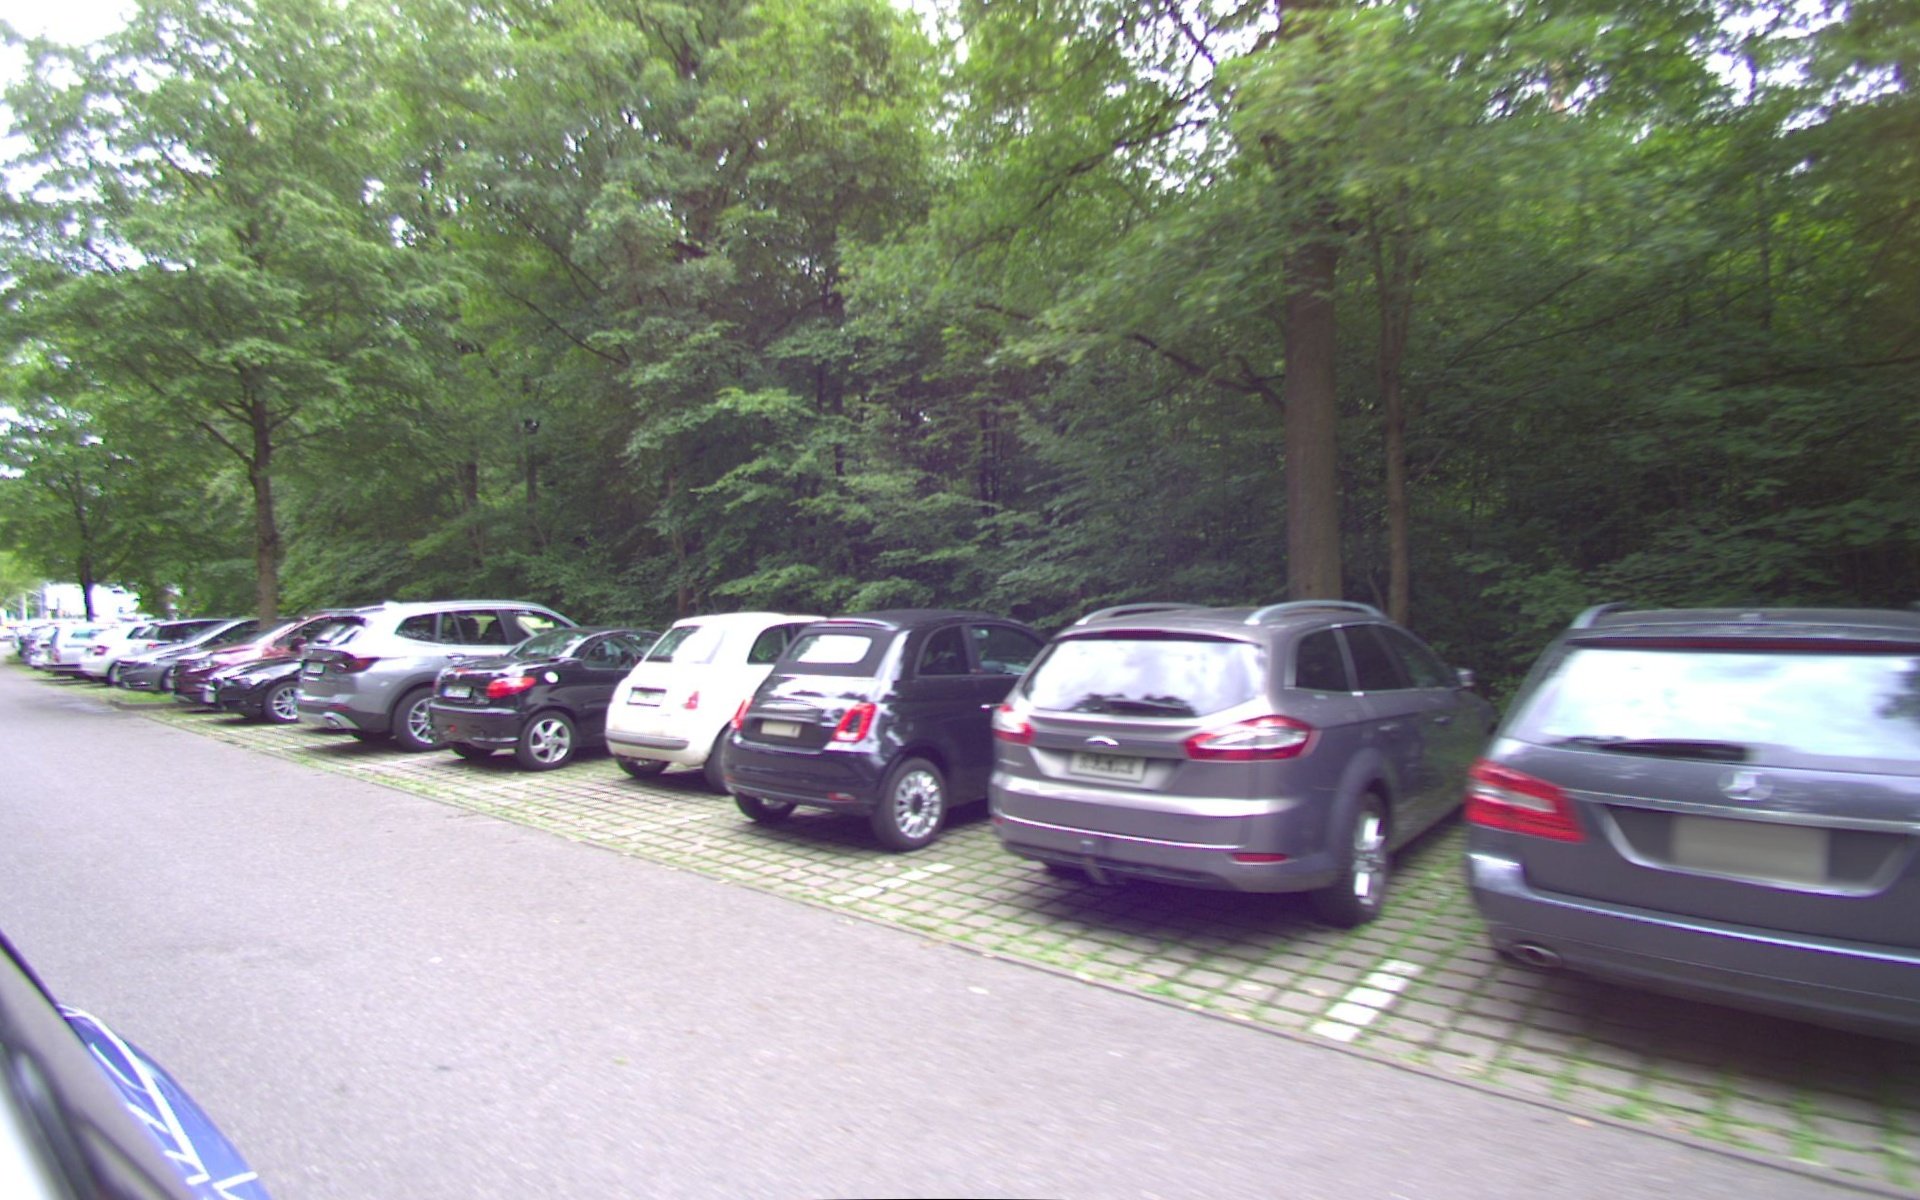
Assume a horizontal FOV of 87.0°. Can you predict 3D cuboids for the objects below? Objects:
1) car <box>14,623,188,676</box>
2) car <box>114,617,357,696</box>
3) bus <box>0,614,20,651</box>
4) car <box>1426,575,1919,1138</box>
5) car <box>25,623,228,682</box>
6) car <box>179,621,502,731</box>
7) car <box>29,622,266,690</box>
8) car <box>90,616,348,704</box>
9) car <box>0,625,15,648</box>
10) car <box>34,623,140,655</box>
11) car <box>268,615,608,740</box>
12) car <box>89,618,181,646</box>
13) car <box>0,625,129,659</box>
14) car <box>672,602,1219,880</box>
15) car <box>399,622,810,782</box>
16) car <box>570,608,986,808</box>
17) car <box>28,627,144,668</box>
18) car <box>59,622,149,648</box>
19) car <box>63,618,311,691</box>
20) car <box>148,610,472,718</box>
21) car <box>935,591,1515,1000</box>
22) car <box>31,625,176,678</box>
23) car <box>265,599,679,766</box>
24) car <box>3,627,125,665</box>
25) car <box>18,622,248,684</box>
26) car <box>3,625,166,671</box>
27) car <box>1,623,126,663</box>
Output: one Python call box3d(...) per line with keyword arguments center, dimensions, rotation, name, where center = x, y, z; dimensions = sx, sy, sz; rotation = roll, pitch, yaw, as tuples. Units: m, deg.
box3d(center=(-27.913, 1.552, 32.946), dimensions=(4.216, 1.497, 2.059), rotation=(0, -1, -44), name="car")
box3d(center=(-16.504, 1.223, 23.235), dimensions=(1.844, 1.562, 4.196), rotation=(-2, -1, 37), name="car")
box3d(center=(-88.342, 2.945, 89.138), dimensions=(2.803, 3.183, 7.671), rotation=(-4, -2, 32), name="bus")
box3d(center=(3.649, 0.678, 4.406), dimensions=(1.995, 1.491, 4.069), rotation=(-2, -1, 39), name="car")
box3d(center=(-24.174, 1.473, 29.469), dimensions=(1.890, 1.497, 4.321), rotation=(-1, -1, 40), name="car")
box3d(center=(-9.530, 1.081, 15.808), dimensions=(1.785, 1.374, 3.947), rotation=(-2, 0, 40), name="car")
box3d(center=(-20.639, 1.361, 25.849), dimensions=(1.869, 1.497, 4.513), rotation=(-2, -1, 42), name="car")
box3d(center=(-15.234, 1.157, 20.973), dimensions=(1.918, 1.567, 3.993), rotation=(-2, -1, 40), name="car")
box3d(center=(-73.669, 2.776, 75.262), dimensions=(4.456, 1.706, 2.172), rotation=(-1, 0, -24), name="car")
box3d(center=(-45.765, 2.035, 53.140), dimensions=(4.181, 1.545, 1.765), rotation=(0, -1, -41), name="car")
box3d(center=(-7.385, 0.997, 14.582), dimensions=(1.799, 1.476, 3.979), rotation=(-2, -1, 43), name="car")
box3d(center=(-61.197, 2.359, 75.153), dimensions=(5.014, 1.930, 1.984), rotation=(0, -1, -29), name="car")
box3d(center=(-43.231, 1.992, 48.988), dimensions=(4.582, 1.489, 2.098), rotation=(0, -1, -41), name="car")
box3d(center=(0.158, 0.821, 7.968), dimensions=(1.837, 1.500, 4.354), rotation=(-2, 0, 42), name="car")
box3d(center=(-3.745, 0.981, 11.221), dimensions=(1.808, 1.320, 3.941), rotation=(-2, -1, 38), name="car")
box3d(center=(-1.570, 0.871, 9.834), dimensions=(1.658, 1.462, 3.828), rotation=(-3, -1, 38), name="car")
box3d(center=(-34.637, 1.845, 40.140), dimensions=(3.423, 1.492, 1.685), rotation=(1, -2, -43), name="car")
box3d(center=(-56.445, 2.299, 66.810), dimensions=(4.296, 1.610, 2.036), rotation=(0, -1, -33), name="car")
box3d(center=(-18.725, 1.261, 24.676), dimensions=(1.940, 1.497, 4.515), rotation=(-2, 0, 41), name="car")
box3d(center=(-11.303, 1.020, 17.862), dimensions=(1.926, 1.596, 4.468), rotation=(-2, -1, 41), name="car")
box3d(center=(1.868, 0.749, 6.017), dimensions=(1.926, 1.535, 4.051), rotation=(-2, -1, 37), name="car")
box3d(center=(-26.122, 1.521, 30.910), dimensions=(1.680, 1.455, 3.184), rotation=(-2, -1, 42), name="car")
box3d(center=(-5.892, 0.862, 12.598), dimensions=(2.028, 1.645, 4.180), rotation=(-2, 0, 41), name="car")
box3d(center=(-36.719, 1.847, 41.532), dimensions=(3.681, 1.430, 1.874), rotation=(0, -1, -42), name="car")
box3d(center=(-22.327, 1.362, 27.480), dimensions=(2.083, 1.458, 4.518), rotation=(-2, -1, 39), name="car")
box3d(center=(-31.490, 1.682, 36.470), dimensions=(4.353, 1.435, 2.037), rotation=(0, -1, -44), name="car")
box3d(center=(-39.856, 1.878, 45.109), dimensions=(3.907, 1.640, 2.003), rotation=(0, -1, -34), name="car")
